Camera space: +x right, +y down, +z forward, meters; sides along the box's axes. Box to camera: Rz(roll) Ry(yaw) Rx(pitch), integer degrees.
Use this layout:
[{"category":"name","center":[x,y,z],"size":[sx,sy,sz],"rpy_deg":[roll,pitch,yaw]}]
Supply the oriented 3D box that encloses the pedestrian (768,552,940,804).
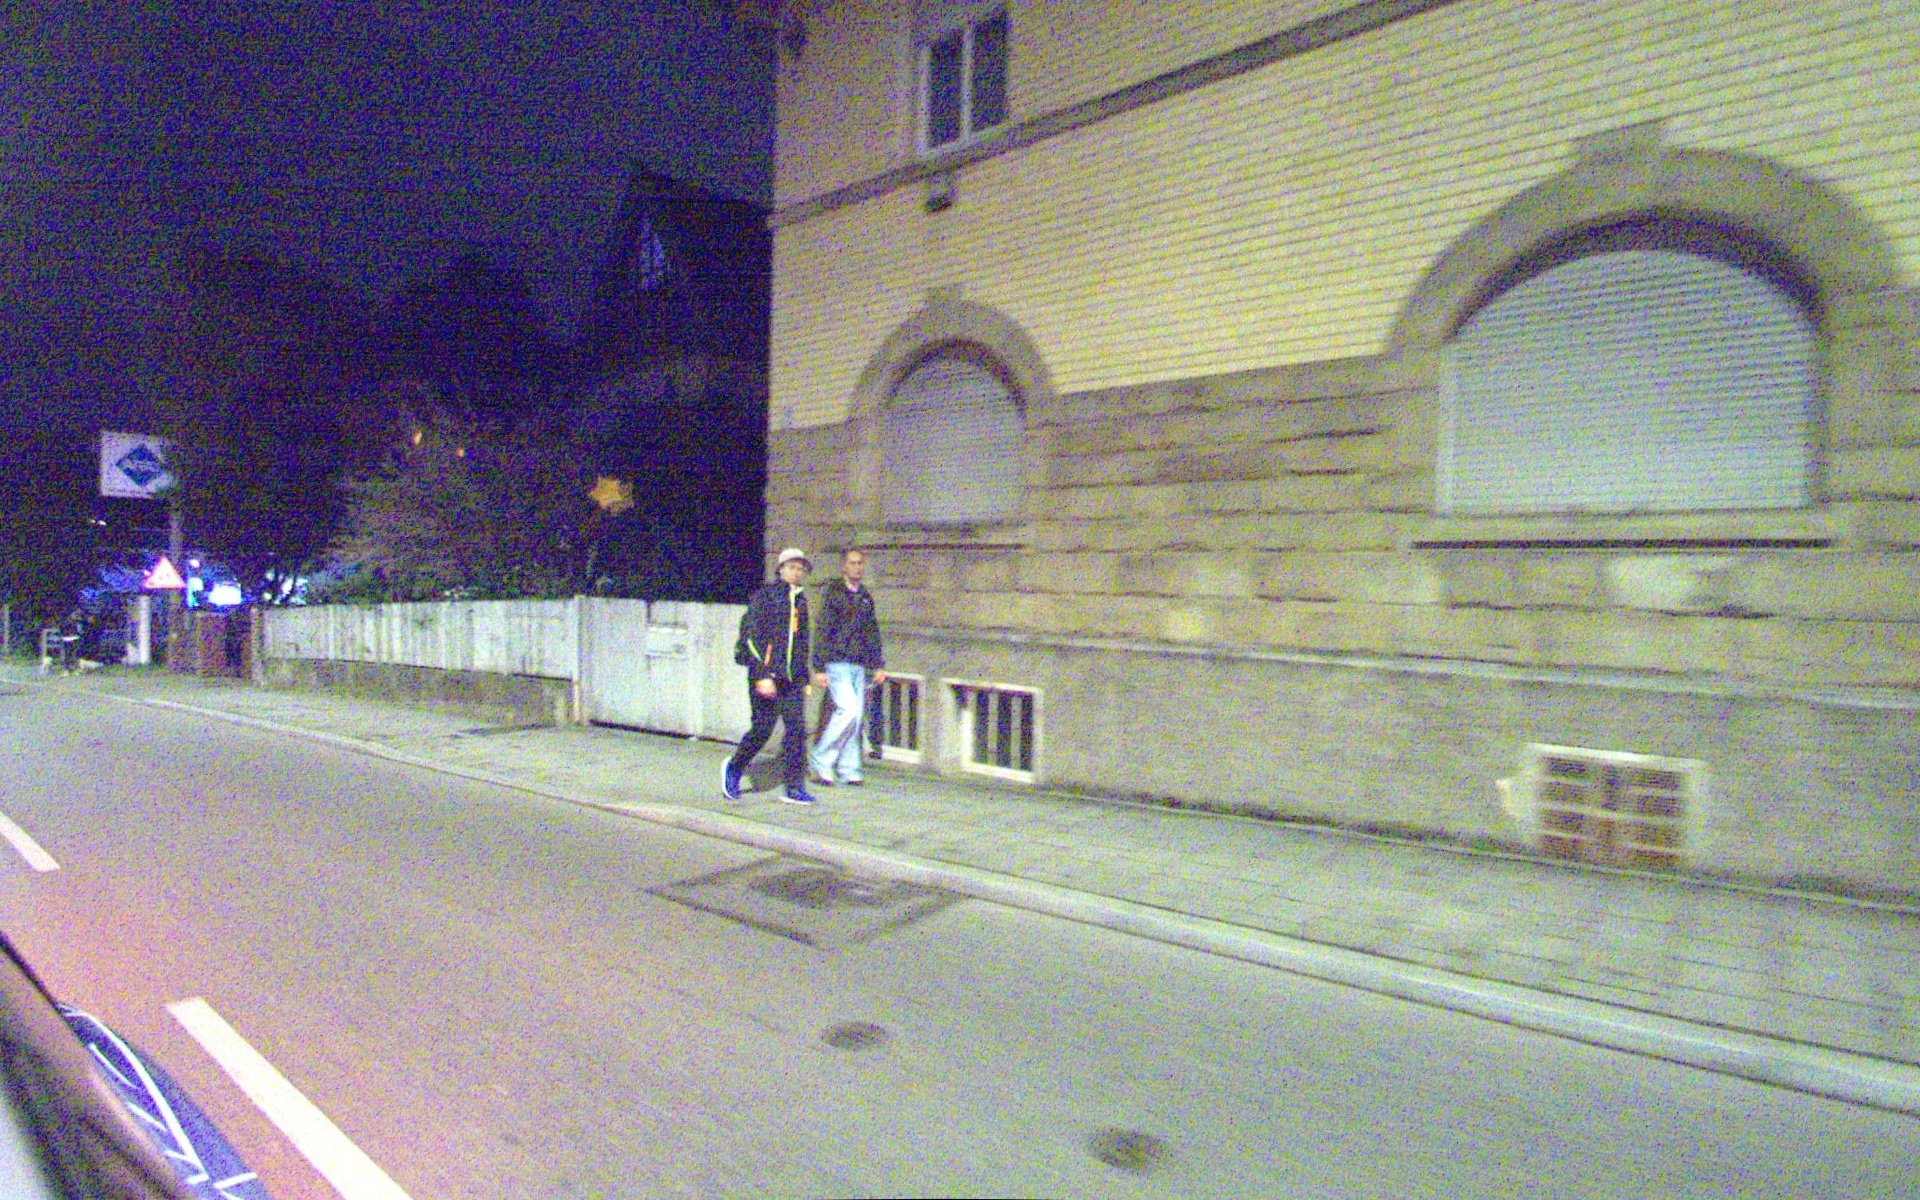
[{"category":"pedestrian","center":[-0.811,0.546,7.710],"size":[1.102,1.758,0.734],"rpy_deg":[-1,0,40]}]

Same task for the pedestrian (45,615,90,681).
[{"category":"pedestrian","center":[-23.626,1.257,26.796],"size":[1.102,1.684,0.734],"rpy_deg":[-1,0,40]}]

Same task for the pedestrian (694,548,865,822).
[{"category":"pedestrian","center":[-1.270,0.550,7.088],"size":[1.028,1.758,0.668],"rpy_deg":[-1,0,40]}]

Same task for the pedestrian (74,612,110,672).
[{"category":"pedestrian","center":[-26.070,1.250,30.391],"size":[0.865,1.739,0.662],"rpy_deg":[-2,-1,38]}]
